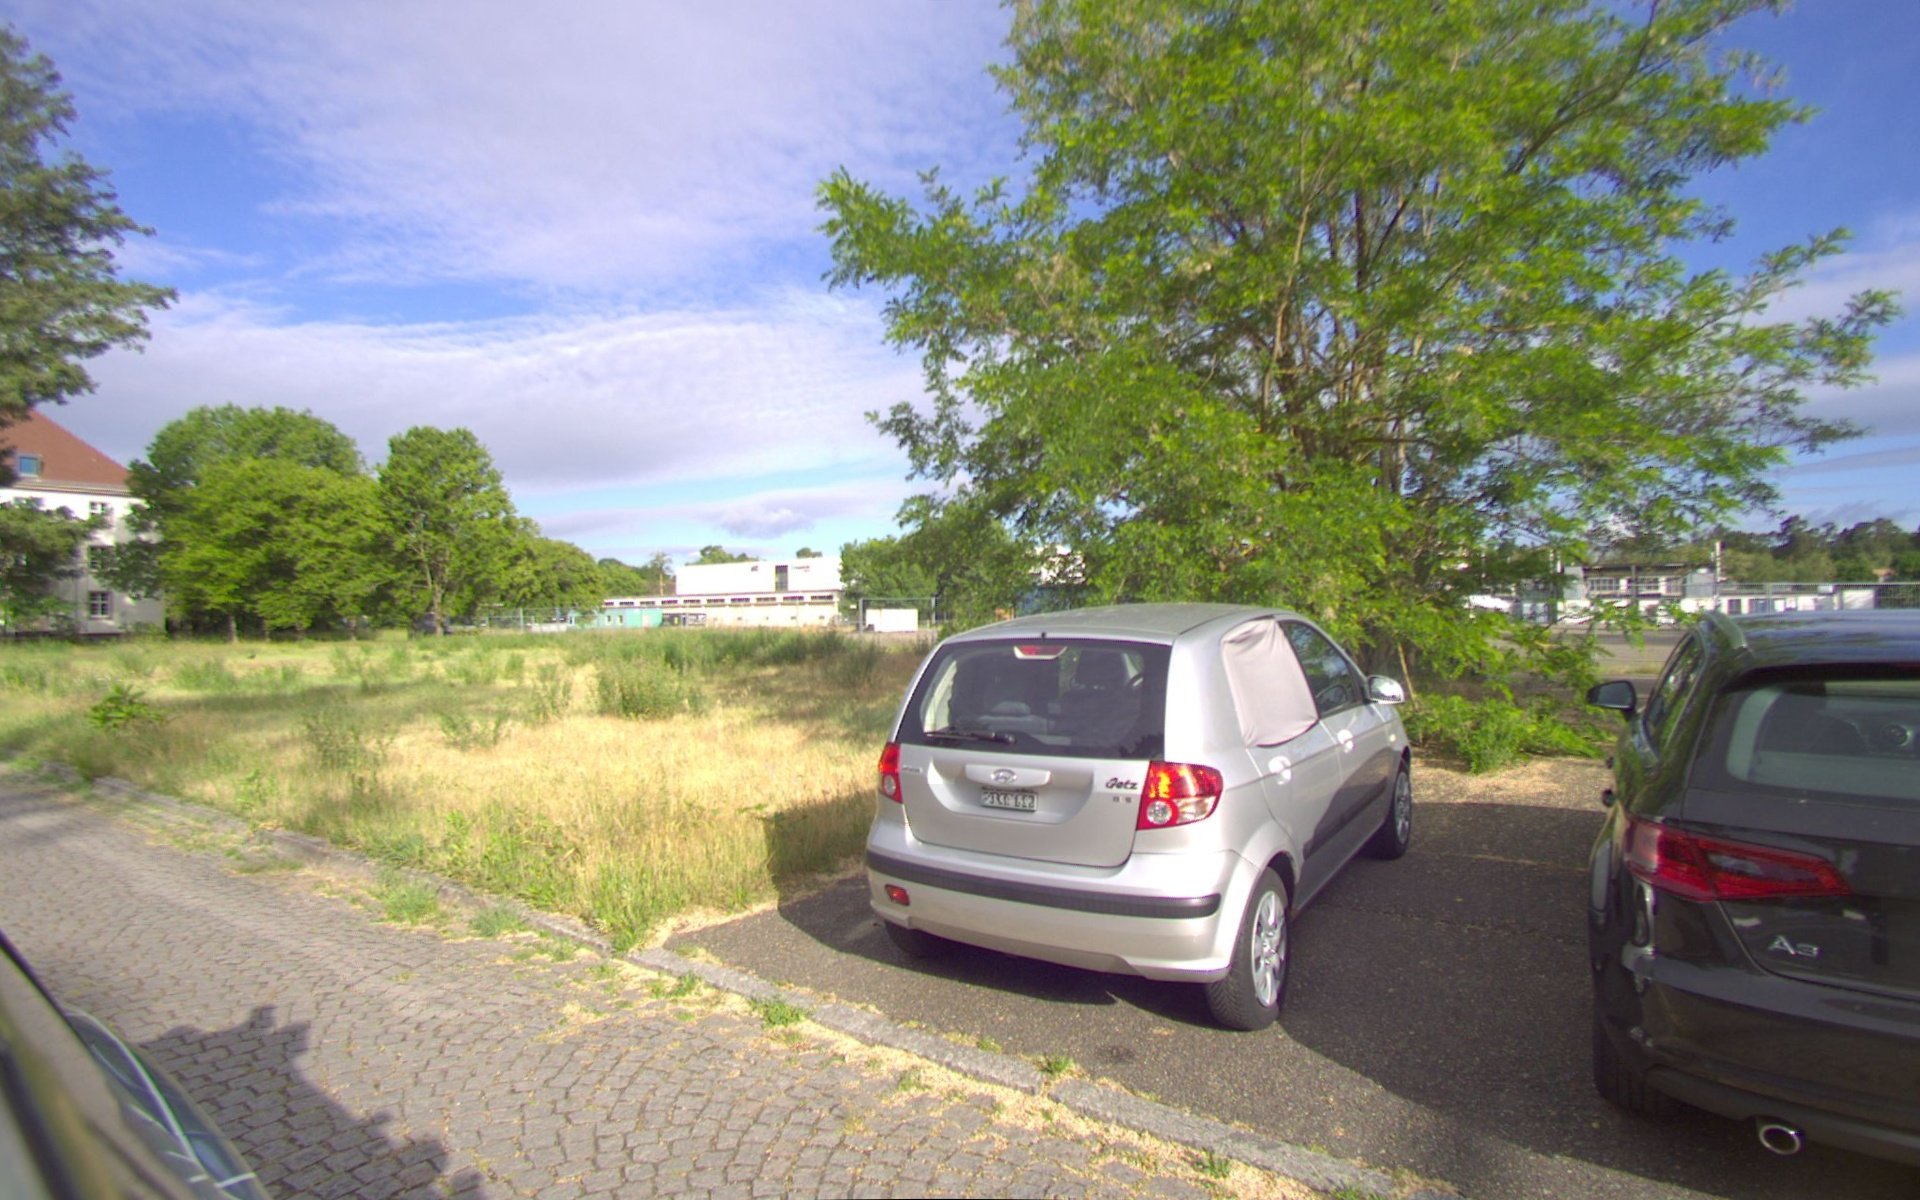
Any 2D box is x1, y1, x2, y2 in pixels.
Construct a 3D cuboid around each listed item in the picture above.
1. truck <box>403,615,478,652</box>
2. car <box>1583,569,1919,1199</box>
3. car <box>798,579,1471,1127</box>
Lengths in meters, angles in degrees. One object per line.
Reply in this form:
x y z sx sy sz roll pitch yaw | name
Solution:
-38.308 2.486 74.534 6.951 2.607 2.388 -2 -2 39 | truck
3.316 0.658 3.368 1.855 1.440 3.796 -1 2 36 | car
1.177 0.708 4.932 1.845 1.484 3.652 -1 2 35 | car
